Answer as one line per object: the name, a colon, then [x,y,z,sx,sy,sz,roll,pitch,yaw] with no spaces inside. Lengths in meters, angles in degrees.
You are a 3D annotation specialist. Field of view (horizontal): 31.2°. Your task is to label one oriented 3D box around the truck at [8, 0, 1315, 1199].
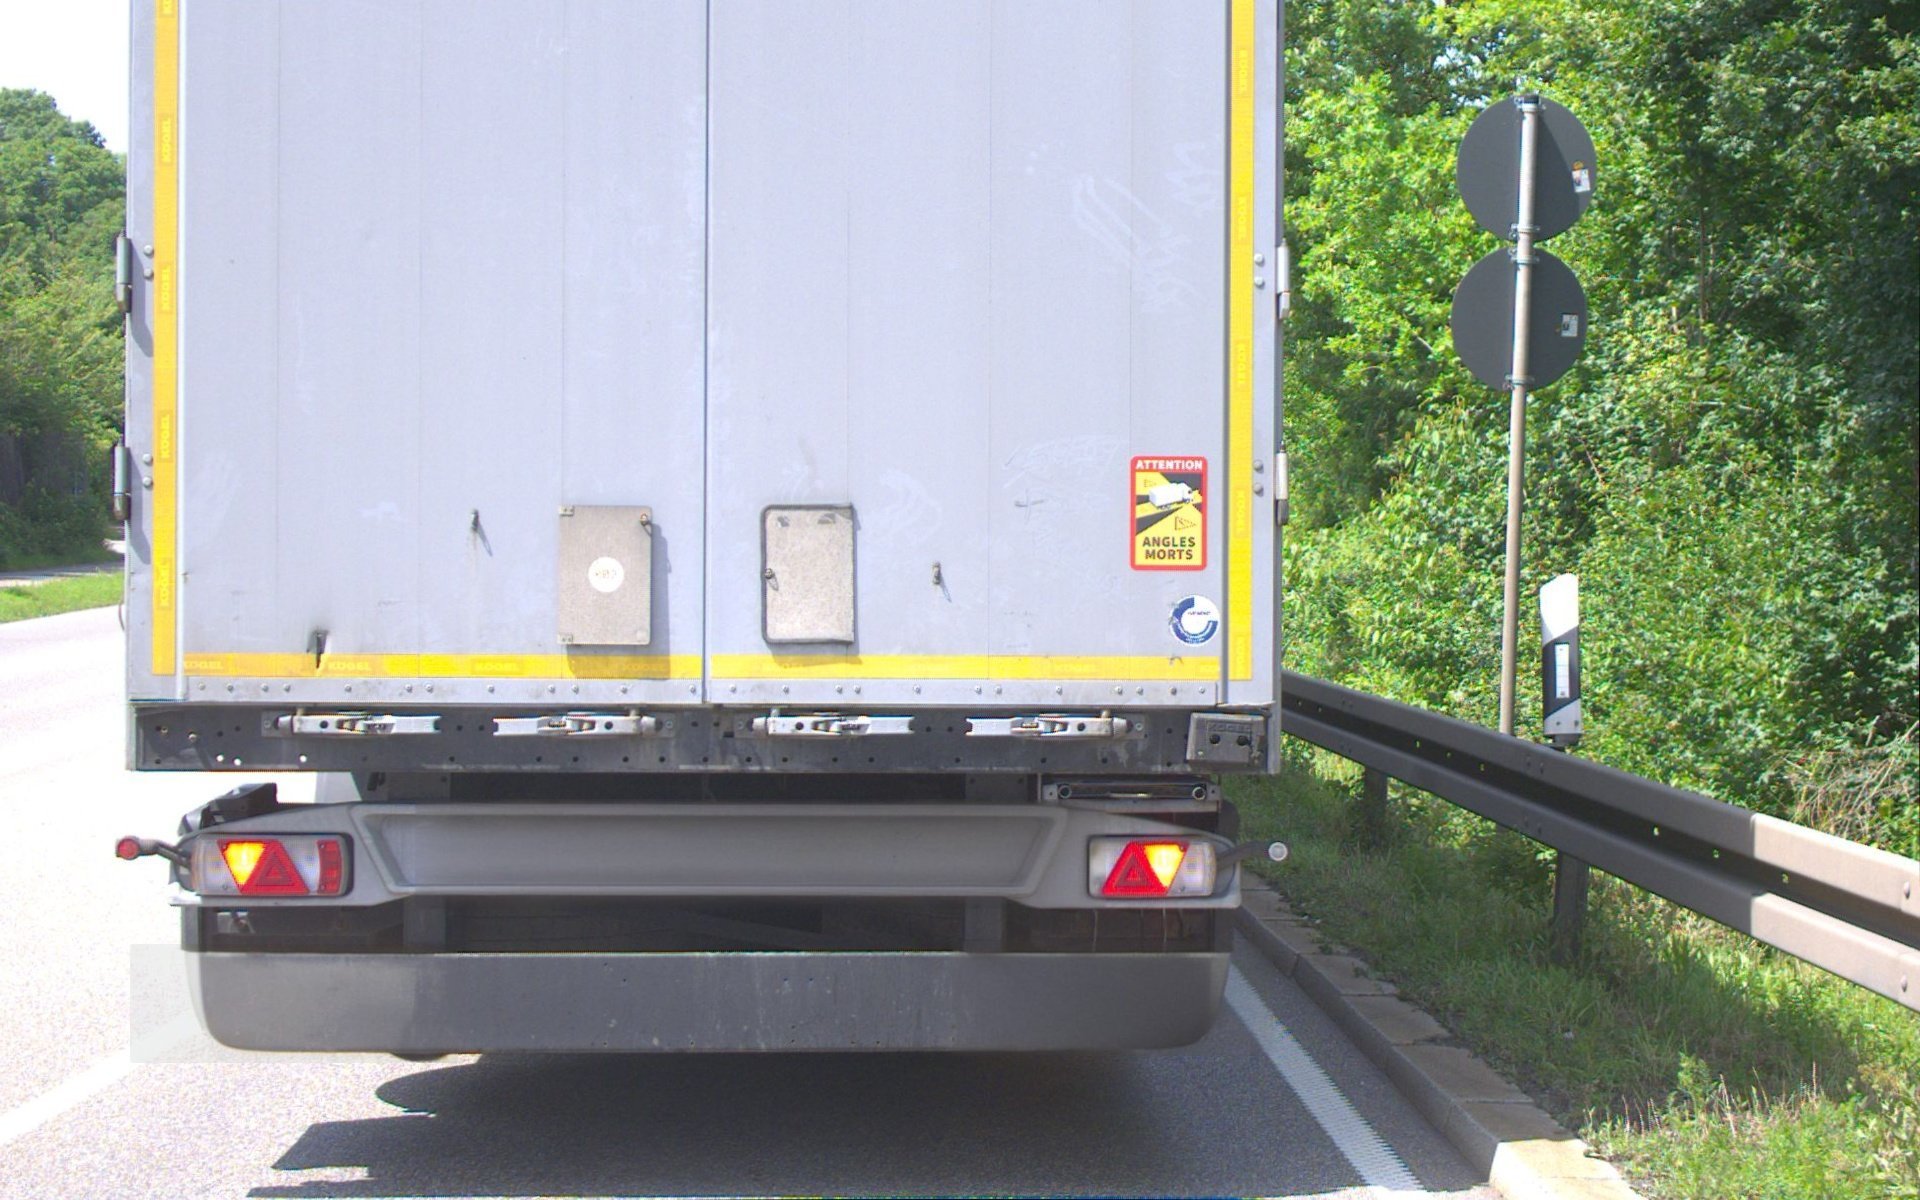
truck: [-0.767,-0.848,13.250,2.757,4.016,11.925,0,1,-1]
